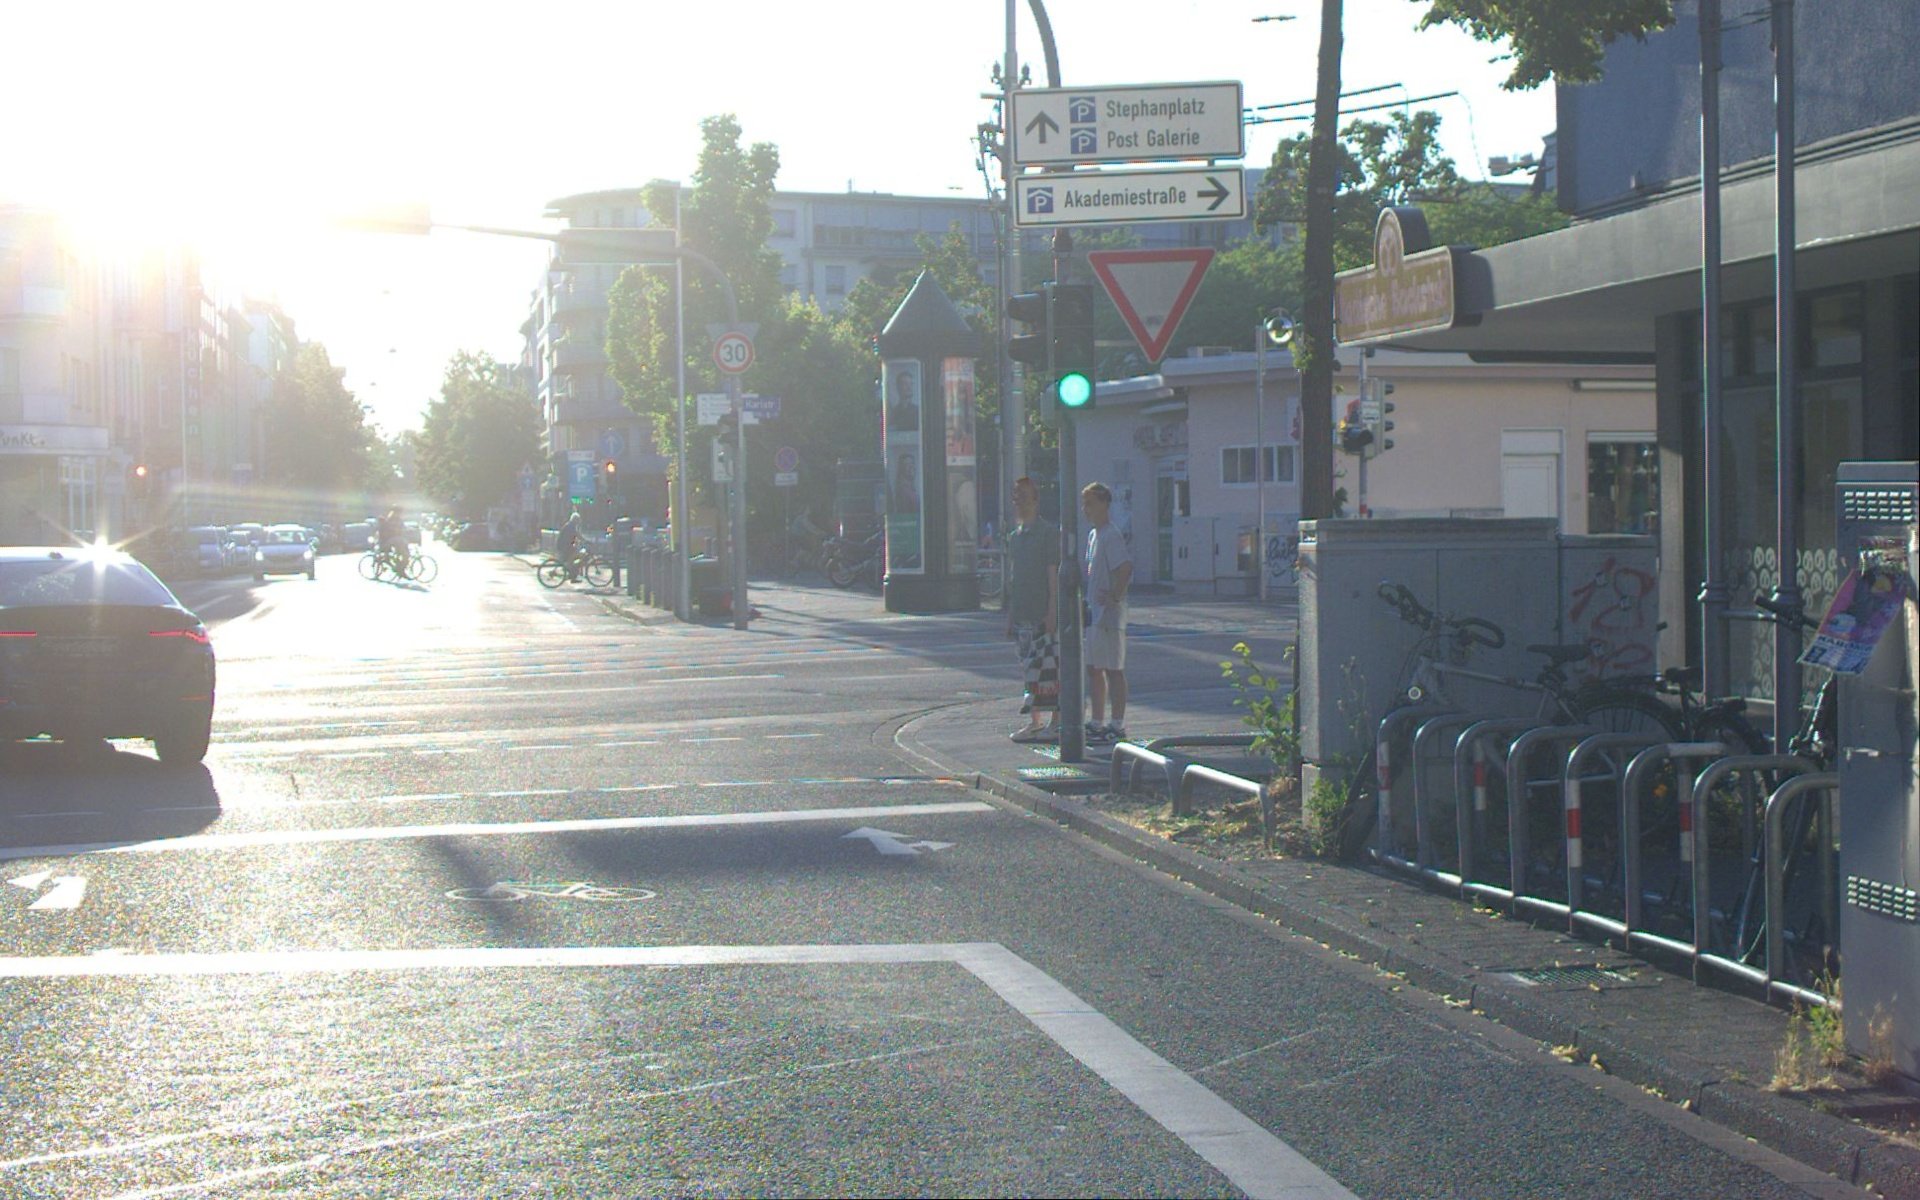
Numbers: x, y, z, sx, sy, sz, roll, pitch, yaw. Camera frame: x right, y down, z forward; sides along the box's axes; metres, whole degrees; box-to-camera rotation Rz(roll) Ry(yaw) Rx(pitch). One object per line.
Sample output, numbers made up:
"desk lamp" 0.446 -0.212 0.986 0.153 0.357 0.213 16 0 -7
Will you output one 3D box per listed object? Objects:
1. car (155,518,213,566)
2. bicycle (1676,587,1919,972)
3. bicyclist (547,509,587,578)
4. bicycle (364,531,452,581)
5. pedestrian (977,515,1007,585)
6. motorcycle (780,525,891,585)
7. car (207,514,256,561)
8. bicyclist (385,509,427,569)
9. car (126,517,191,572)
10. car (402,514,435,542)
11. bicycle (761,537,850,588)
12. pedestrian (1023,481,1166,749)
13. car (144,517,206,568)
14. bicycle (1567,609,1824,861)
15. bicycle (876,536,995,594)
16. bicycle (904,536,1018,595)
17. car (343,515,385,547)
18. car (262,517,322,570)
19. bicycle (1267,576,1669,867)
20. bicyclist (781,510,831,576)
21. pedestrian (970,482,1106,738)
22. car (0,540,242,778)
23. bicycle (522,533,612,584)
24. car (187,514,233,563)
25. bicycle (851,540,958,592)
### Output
"car" -23.721 -1.765 105.153 1.544 1.464 3.353 0 1 -9
"bicycle" 3.214 0.559 11.361 1.656 1.190 0.494 -1 2 -21
"bicyclist" -9.601 -1.380 83.951 0.850 1.653 0.676 1 0 2
"bicycle" -13.851 -1.105 86.279 2.117 1.200 0.500 1 0 1
"pedestrian" 0.758 -1.180 81.258 0.680 1.651 0.696 1 0 -1
"motorcycle" -2.553 -0.924 70.461 2.234 1.197 0.720 -1 2 -3
"car" -24.925 -2.132 117.605 1.482 1.554 3.259 0 1 -9
"bicyclist" -13.895 -1.526 86.292 0.899 1.476 0.735 1 0 1
"car" -22.504 -1.569 96.616 1.544 1.478 3.353 -1 2 -9
"car" -36.085 -4.781 229.060 1.993 1.809 4.001 1 1 -7
"bicycle" -3.781 -0.916 83.963 2.118 1.200 0.500 1 0 3
"pedestrian" 0.907 0.089 23.296 0.637 1.767 0.749 -2 2 -29
"car" -22.878 -1.660 100.244 1.544 1.464 3.353 0 1 -9
"bicycle" 3.295 0.578 15.523 0.403 1.007 1.671 -3 2 -14
"bicycle" -0.447 -0.638 62.873 2.147 1.040 0.560 -1 0 -1
"bicycle" 0.010 -0.622 61.777 2.020 1.041 0.560 -1 0 -1
"car" -32.334 -3.732 186.536 1.993 1.678 4.001 -1 2 -7
"car" -18.738 -1.590 96.566 1.544 1.462 3.353 0 1 -9
"bicycle" 2.191 0.507 14.836 1.656 1.190 0.477 -1 2 -14
"bicyclist" -3.767 -1.395 83.967 1.129 1.596 0.702 1 0 3
"pedestrian" 0.548 0.061 24.245 0.585 1.767 0.749 -2 2 -39
"car" -6.439 0.338 23.634 1.890 1.475 4.544 1 1 -26
"bicycle" -9.596 -1.008 83.957 2.117 1.200 0.500 1 0 2
"car" -24.400 -1.996 111.830 1.306 1.577 2.889 0 1 -9
"bicycle" -1.081 -0.669 67.453 2.077 0.979 0.560 -1 0 -1
